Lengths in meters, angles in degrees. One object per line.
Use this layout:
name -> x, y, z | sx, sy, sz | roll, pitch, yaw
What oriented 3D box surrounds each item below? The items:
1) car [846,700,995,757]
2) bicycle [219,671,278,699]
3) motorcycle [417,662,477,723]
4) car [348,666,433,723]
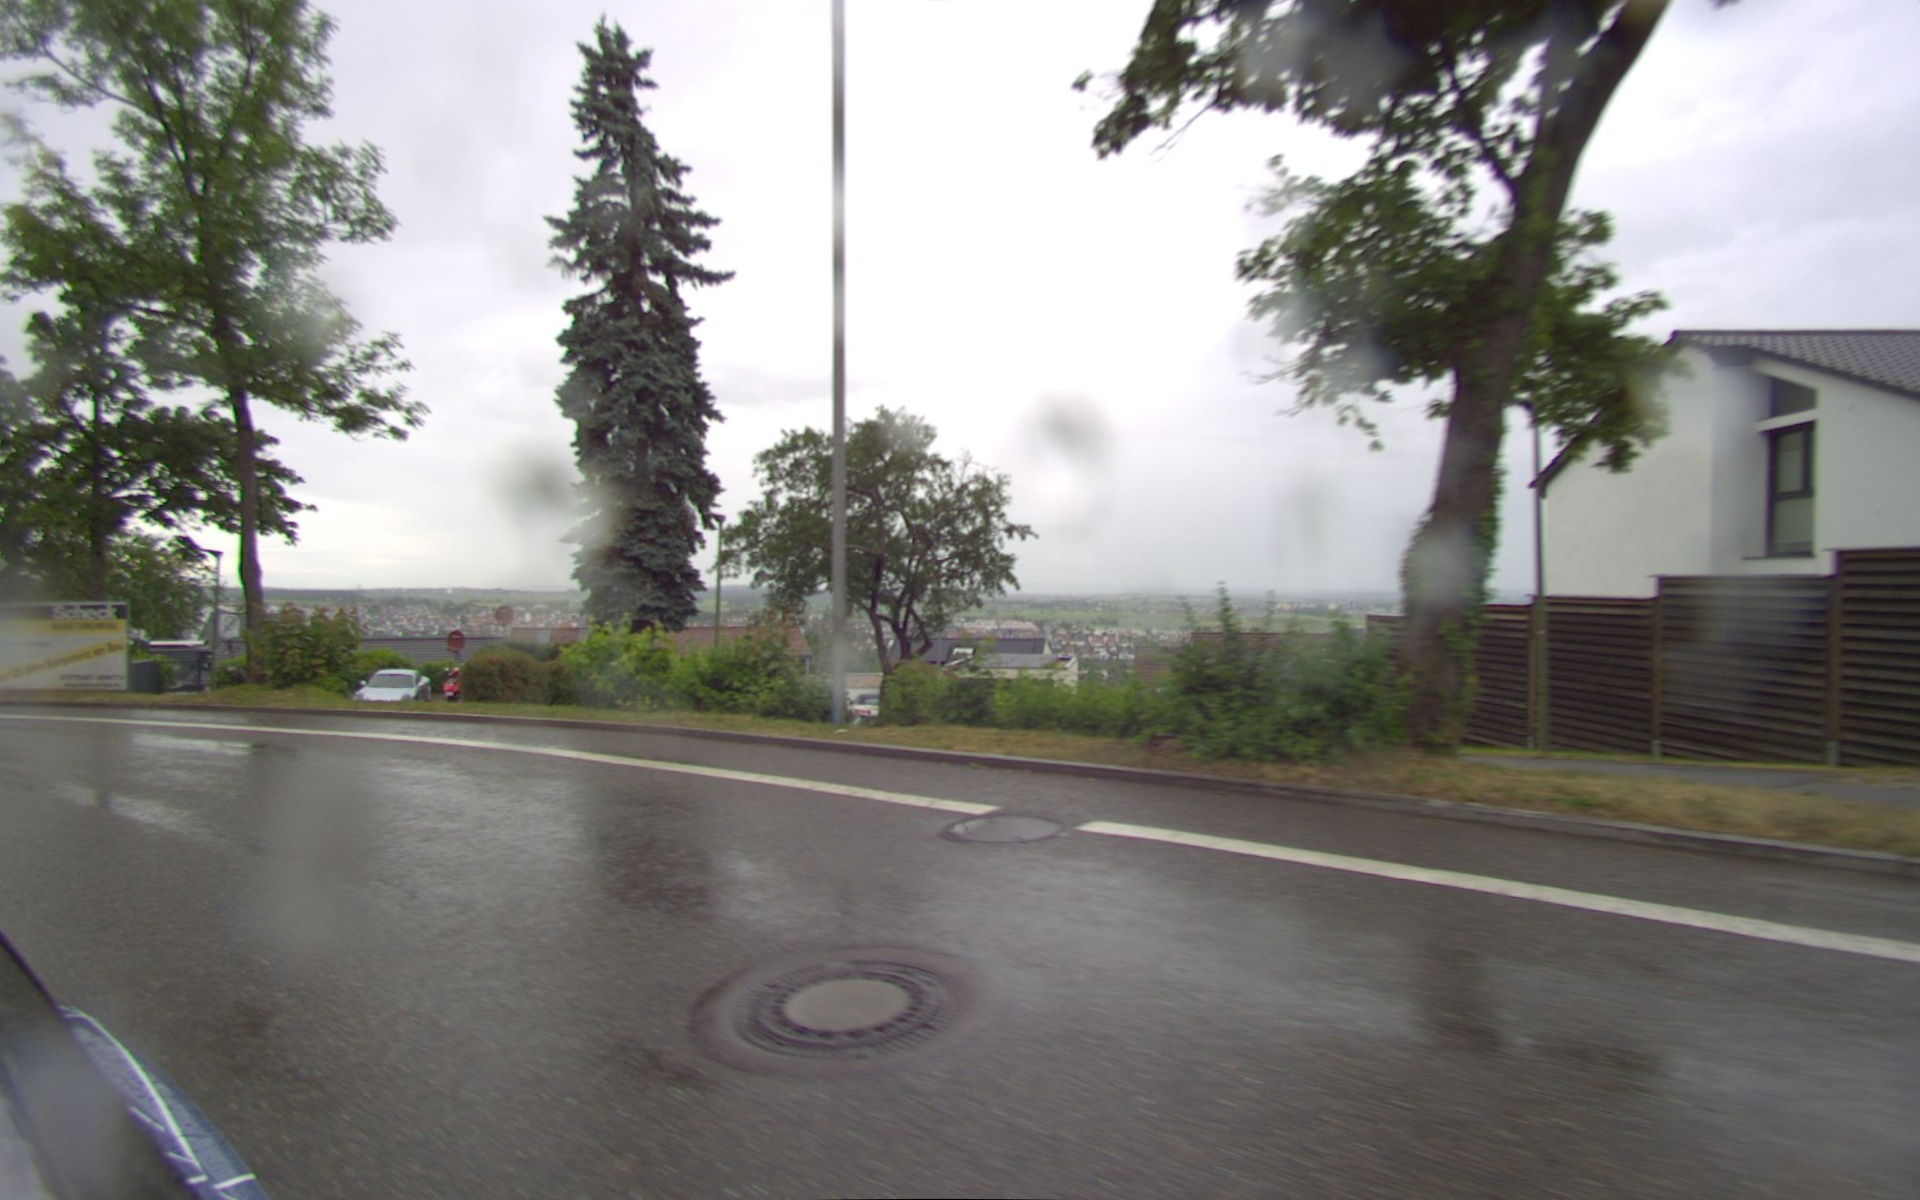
car -> -1.261, 3.925, 31.087 | 4.210, 1.361, 2.168 | 5, -4, -10
bicycle -> -25.395, 3.017, 36.142 | 1.641, 0.972, 0.431 | 1, -2, -15
motorcycle -> -17.977, 3.188, 35.597 | 1.197, 1.274, 3.888 | -4, 8, -17
car -> -19.378, 3.178, 34.617 | 1.756, 1.262, 4.261 | 4, 2, -19
